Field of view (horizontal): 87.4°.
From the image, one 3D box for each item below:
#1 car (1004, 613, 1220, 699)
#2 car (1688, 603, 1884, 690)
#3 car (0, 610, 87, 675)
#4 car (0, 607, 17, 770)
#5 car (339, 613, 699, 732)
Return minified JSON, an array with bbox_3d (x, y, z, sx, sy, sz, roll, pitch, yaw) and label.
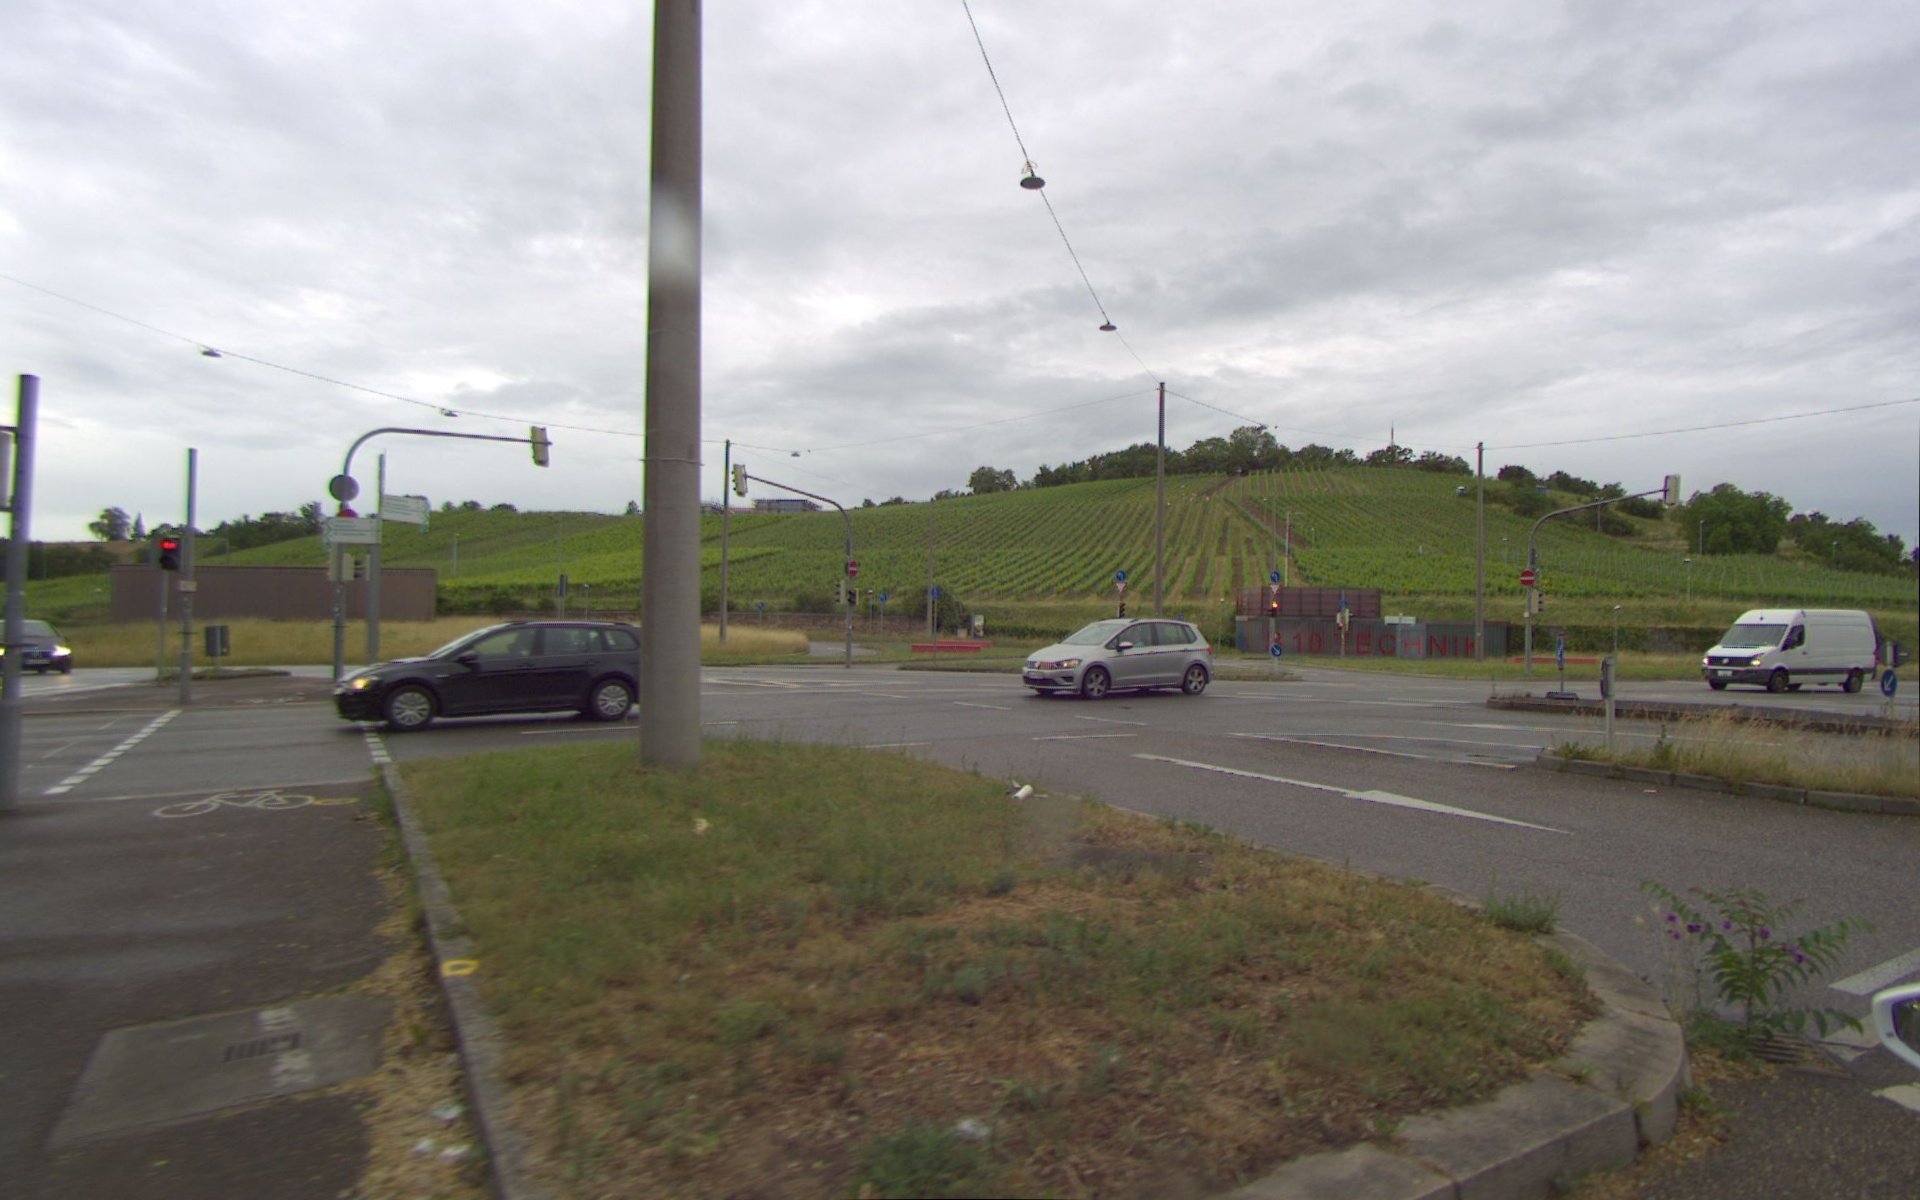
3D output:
[{"bbox_3d":[3.158,1.139,20.624,4.151,1.596,1.982,2,-3,-33],"label":"car"},{"bbox_3d":[26.684,1.501,32.443,6.075,2.593,1.991,2,0,-19],"label":"car"},{"bbox_3d":[-27.655,1.226,30.030,3.945,1.684,1.988,2,0,44],"label":"car"},{"bbox_3d":[-10.674,0.782,7.611,4.840,1.509,1.890,1,-1,-34],"label":"car"},{"bbox_3d":[-6.372,0.965,14.745,4.619,1.492,1.813,1,-1,-34],"label":"car"}]
